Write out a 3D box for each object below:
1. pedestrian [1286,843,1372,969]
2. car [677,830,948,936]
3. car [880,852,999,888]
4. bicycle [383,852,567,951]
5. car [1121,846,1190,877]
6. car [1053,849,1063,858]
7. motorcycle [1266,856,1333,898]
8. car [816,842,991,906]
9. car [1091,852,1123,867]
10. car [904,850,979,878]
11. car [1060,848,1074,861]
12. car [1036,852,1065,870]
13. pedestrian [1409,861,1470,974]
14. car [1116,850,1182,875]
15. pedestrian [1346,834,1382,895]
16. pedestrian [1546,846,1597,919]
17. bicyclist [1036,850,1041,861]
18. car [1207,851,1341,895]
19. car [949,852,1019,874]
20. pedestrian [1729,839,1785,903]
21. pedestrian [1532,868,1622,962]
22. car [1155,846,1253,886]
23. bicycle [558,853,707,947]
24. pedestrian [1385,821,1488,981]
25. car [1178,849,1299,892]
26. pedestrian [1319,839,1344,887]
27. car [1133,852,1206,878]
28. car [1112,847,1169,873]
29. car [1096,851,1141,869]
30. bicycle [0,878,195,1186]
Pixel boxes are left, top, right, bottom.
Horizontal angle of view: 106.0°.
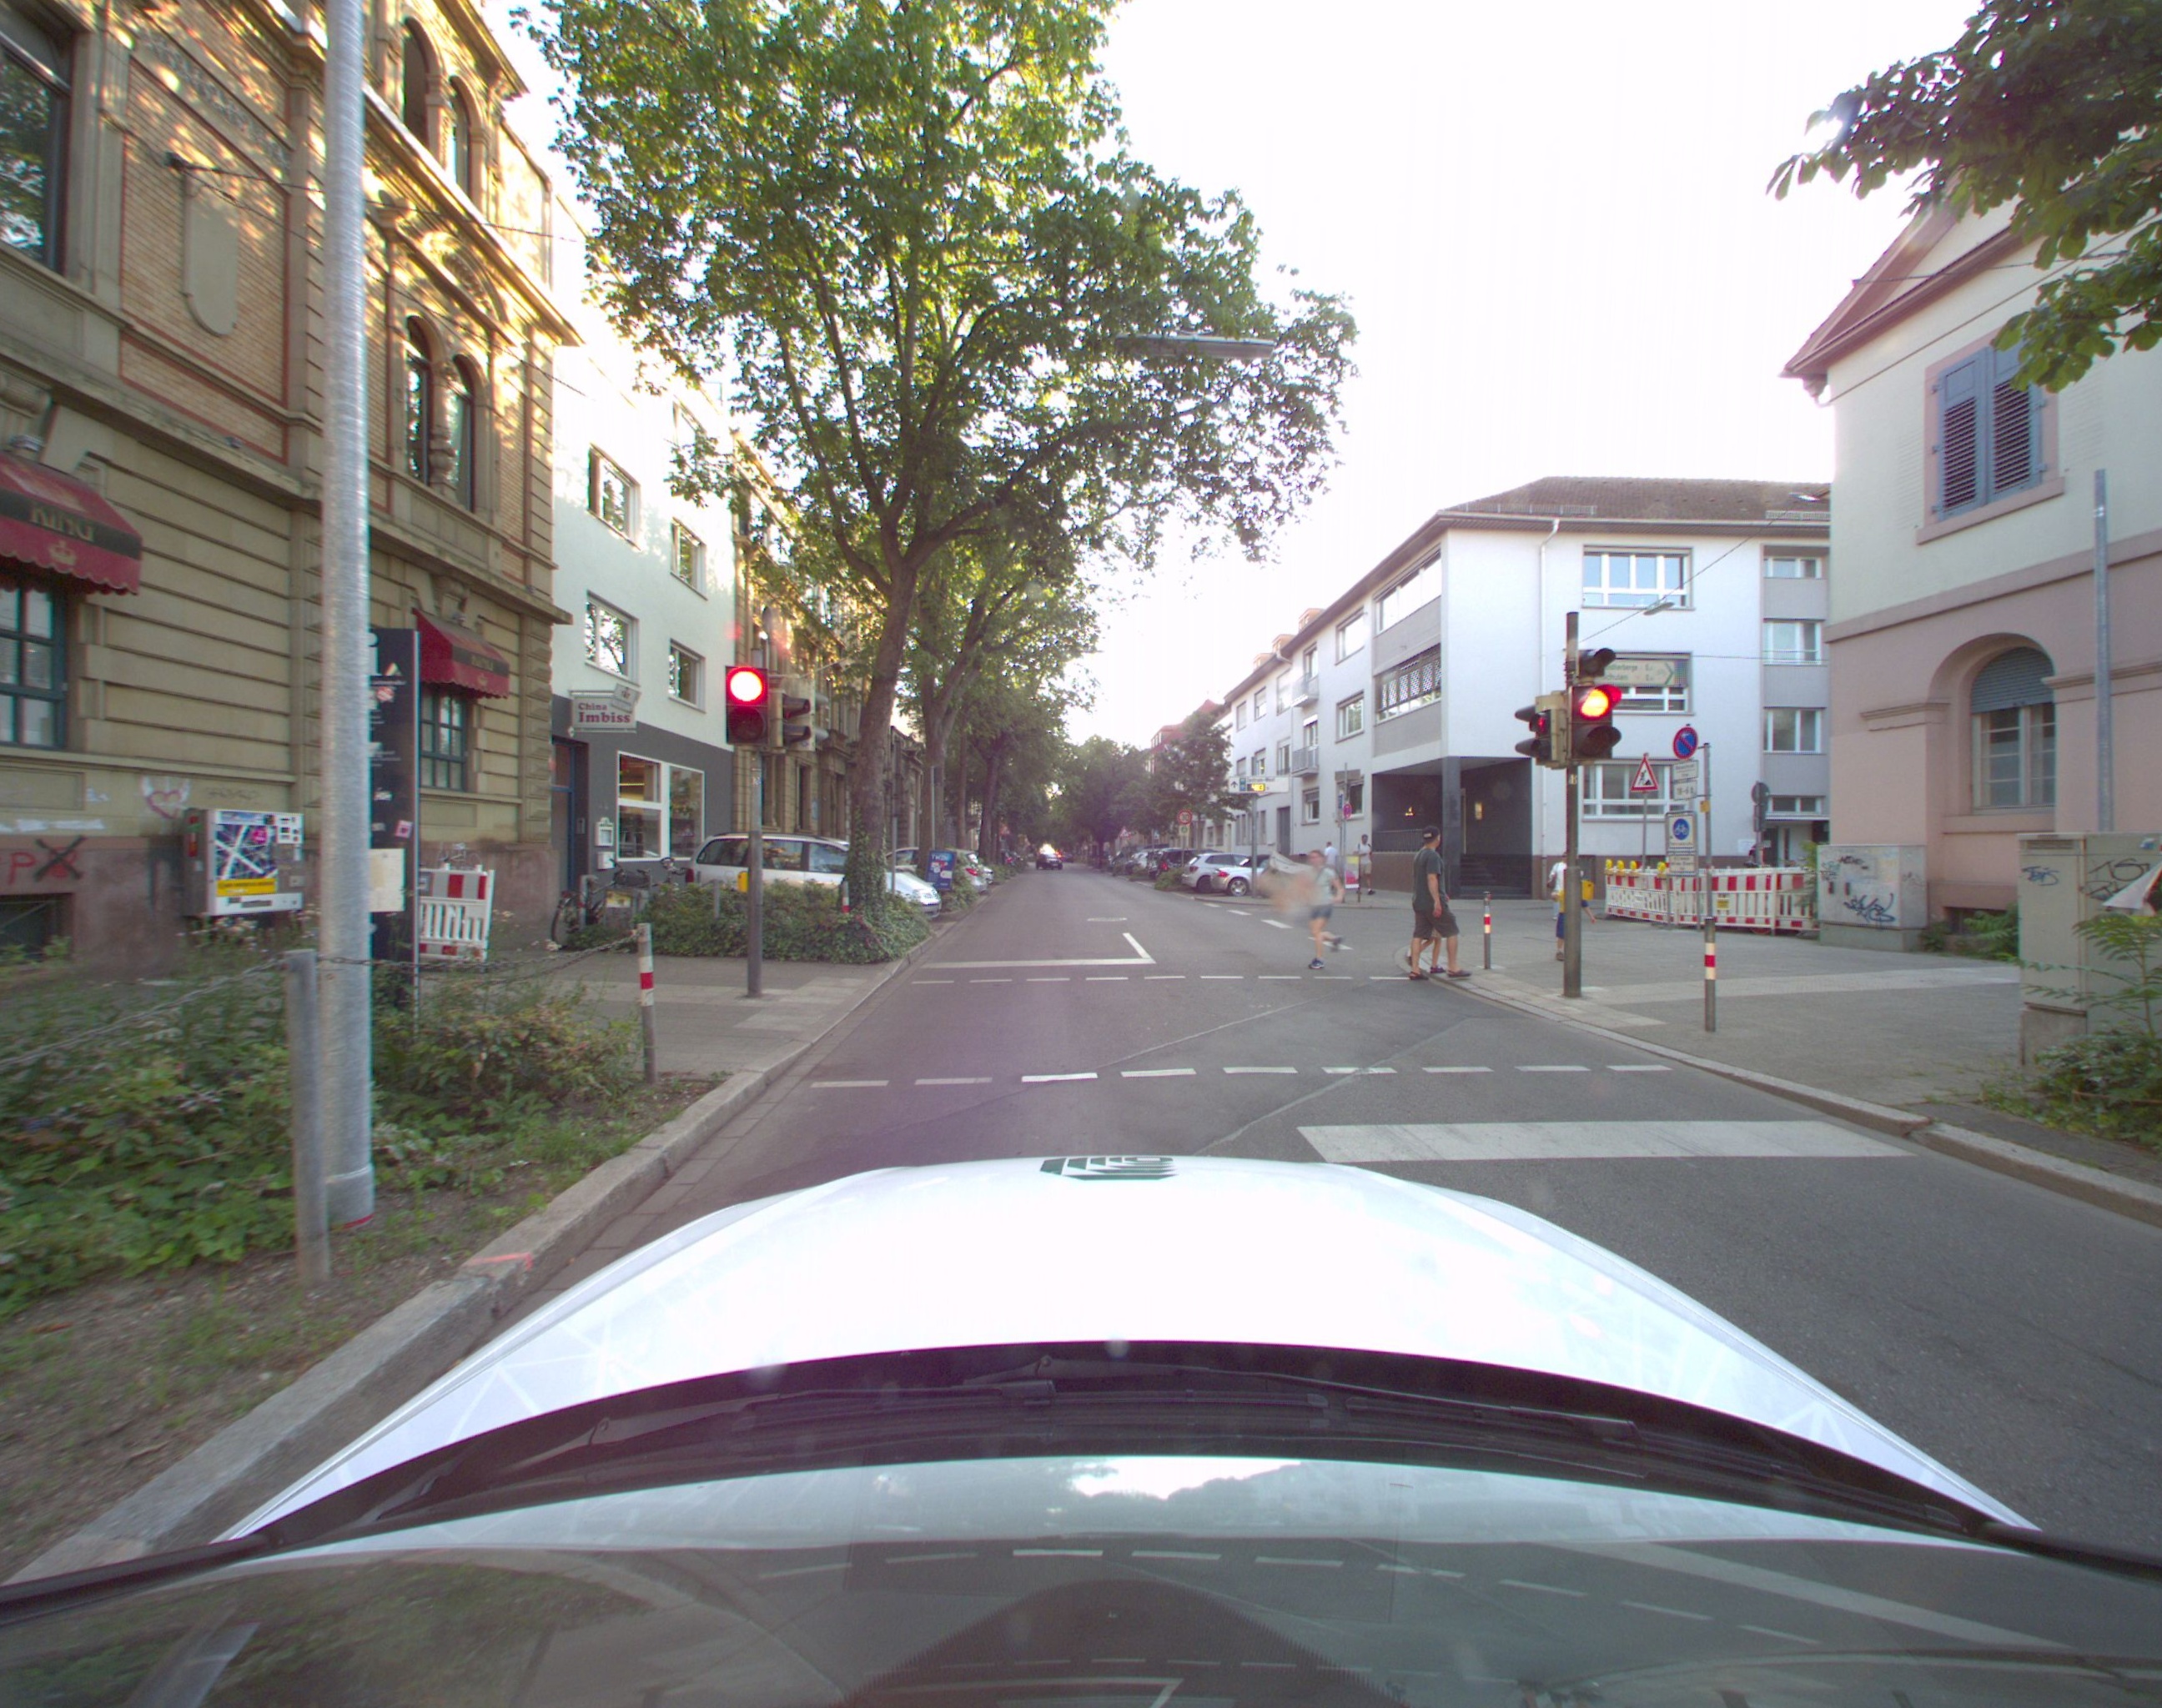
[{"bbox_3d":[3.240,0.635,10.612,0.692,1.557,0.986,1,0,43],"label":"pedestrian"},{"bbox_3d":[-4.885,0.492,15.383,4.541,1.835,1.830,0,0,-6],"label":"car"},{"bbox_3d":[-5.690,0.637,33.188,4.536,1.372,1.832,0,0,-2],"label":"car"},{"bbox_3d":[-8.205,0.579,11.225,0.634,1.202,2.563,0,0,-1],"label":"bicycle"},{"bbox_3d":[4.477,0.457,49.272,4.005,1.815,1.705,-1,0,-3],"label":"car"},{"bbox_3d":[-4.469,-0.084,160.683,1.920,1.660,3.996,0,0,-3],"label":"car"},{"bbox_3d":[6.312,0.661,23.560,1.790,1.199,0.614,-1,0,6],"label":"motorcycle"},{"bbox_3d":[-4.882,0.537,22.936,4.536,1.689,1.832,0,0,-2],"label":"car"},{"bbox_3d":[3.394,0.718,107.065,4.005,1.830,1.705,0,0,-3],"label":"car"},{"bbox_3d":[-8.069,0.558,47.349,4.028,1.590,1.832,0,0,-2],"label":"car"},{"bbox_3d":[-1.915,0.058,109.810,1.821,1.561,4.023,1,0,-3],"label":"car"},{"bbox_3d":[-2.809,0.581,74.097,1.906,1.578,3.973,1,0,-14],"label":"car"},{"bbox_3d":[4.397,0.765,10.020,0.537,1.335,0.507,0,0,2],"label":"pedestrian"},{"bbox_3d":[4.323,0.526,52.149,4.005,1.530,1.705,0,0,-3],"label":"car"},{"bbox_3d":[8.776,0.318,25.258,0.765,1.841,0.943,0,0,-2],"label":"pedestrian"},{"bbox_3d":[10.449,0.588,17.359,0.766,1.501,0.806,-2,-1,41],"label":"pedestrian"},{"bbox_3d":[-5.830,0.218,112.430,0.571,1.470,0.641,1,-1,-9],"label":"bicyclist"},{"bbox_3d":[6.273,0.609,26.731,4.004,1.342,1.705,-1,0,-2],"label":"car"},{"bbox_3d":[-6.579,0.604,55.666,4.536,1.410,1.832,0,0,-2],"label":"car"},{"bbox_3d":[18.870,0.451,22.752,0.766,1.752,0.933,0,0,-2],"label":"pedestrian"},{"bbox_3d":[6.411,0.766,10.555,0.566,1.121,0.834,-1,1,-12],"label":"pedestrian"},{"bbox_3d":[5.356,0.501,35.734,4.005,1.690,1.705,-1,0,-3],"label":"car"},{"bbox_3d":[-6.393,0.596,11.828,0.732,1.186,2.633,1,0,-1],"label":"bicycle"},{"bbox_3d":[4.170,0.526,9.613,0.884,1.815,0.794,0,0,2],"label":"pedestrian"},{"bbox_3d":[5.630,0.576,29.341,4.005,1.442,1.705,-1,0,-3],"label":"car"},{"bbox_3d":[9.227,0.337,29.976,0.701,1.752,0.700,0,0,1],"label":"pedestrian"},{"bbox_3d":[5.083,0.630,46.998,4.005,1.409,1.705,-1,0,-3],"label":"car"},{"bbox_3d":[4.318,0.437,59.407,4.005,1.830,1.705,0,0,-3],"label":"car"},{"bbox_3d":[3.379,0.532,74.357,4.005,1.602,1.705,0,0,-3],"label":"car"},{"bbox_3d":[-4.412,0.708,2.783,0.509,1.153,2.099,2,0,-2],"label":"bicycle"}]
